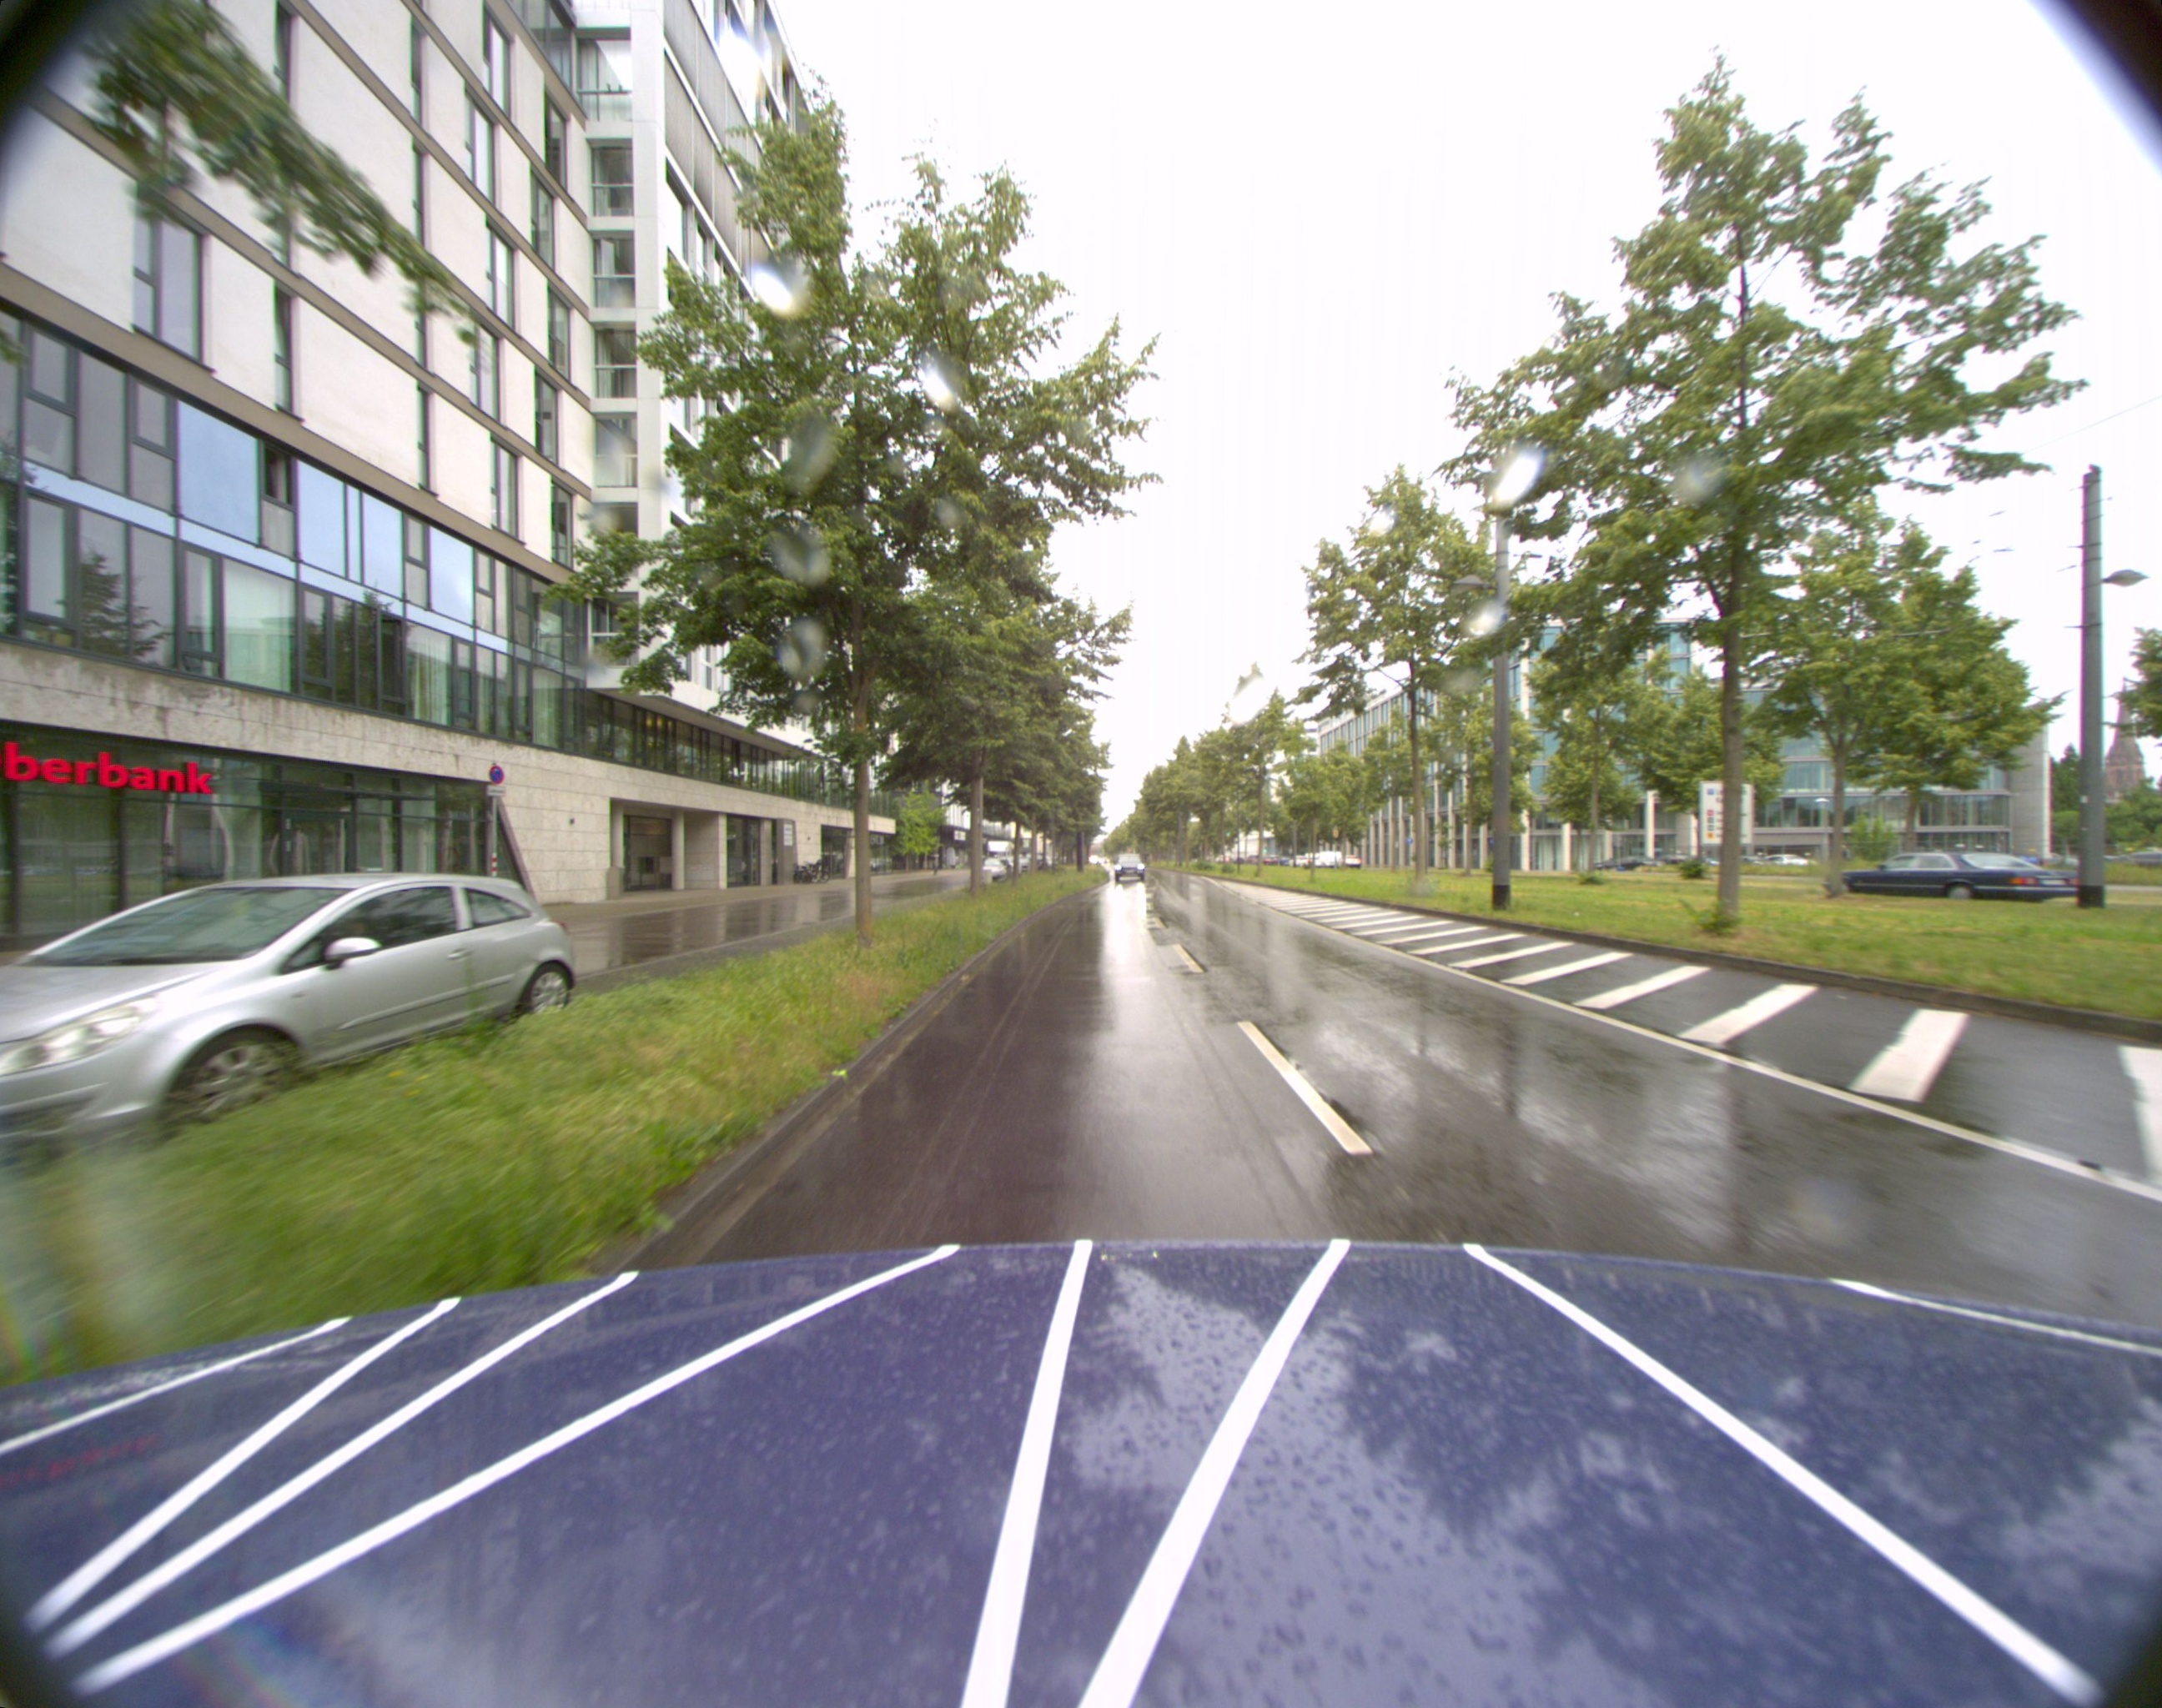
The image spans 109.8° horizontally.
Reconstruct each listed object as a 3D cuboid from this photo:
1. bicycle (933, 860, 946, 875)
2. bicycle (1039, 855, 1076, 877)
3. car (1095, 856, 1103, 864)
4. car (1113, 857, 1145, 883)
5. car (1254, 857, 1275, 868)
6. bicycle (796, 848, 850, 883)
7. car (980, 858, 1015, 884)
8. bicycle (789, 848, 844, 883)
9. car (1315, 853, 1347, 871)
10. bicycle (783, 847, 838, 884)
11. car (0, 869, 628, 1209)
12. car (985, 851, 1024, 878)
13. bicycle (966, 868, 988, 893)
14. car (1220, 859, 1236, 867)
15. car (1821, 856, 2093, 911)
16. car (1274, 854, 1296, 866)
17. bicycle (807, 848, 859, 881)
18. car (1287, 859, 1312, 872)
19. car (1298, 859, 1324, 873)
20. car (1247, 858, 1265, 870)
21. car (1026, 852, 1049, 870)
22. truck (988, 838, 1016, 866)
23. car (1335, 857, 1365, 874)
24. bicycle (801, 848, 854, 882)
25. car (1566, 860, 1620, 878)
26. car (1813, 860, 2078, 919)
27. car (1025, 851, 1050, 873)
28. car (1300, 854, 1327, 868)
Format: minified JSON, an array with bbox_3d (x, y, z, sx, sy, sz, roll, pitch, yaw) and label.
[{"bbox_3d":[-11.510,1.095,61.943,0.519,1.124,2.065,-1,0,4],"label":"bicycle"},{"bbox_3d":[-1.318,0.682,42.594,2.040,1.189,0.491,-1,1,1],"label":"bicycle"},{"bbox_3d":[3.934,1.352,170.255,1.687,1.520,3.970,0,-2,-1],"label":"car"},{"bbox_3d":[3.072,0.993,49.133,1.928,1.650,4.716,0,0,2],"label":"car"},{"bbox_3d":[27.093,1.279,112.314,1.955,1.377,4.606,0,-2,0],"label":"car"},{"bbox_3d":[-13.960,0.610,41.144,2.685,1.849,0.707,0,0,6],"label":"bicycle"},{"bbox_3d":[-4.941,1.024,45.283,1.629,1.482,3.656,0,-1,0],"label":"car"},{"bbox_3d":[-14.026,0.597,40.355,2.685,1.849,0.707,0,0,6],"label":"bicycle"},{"bbox_3d":[30.545,0.981,92.869,2.273,1.994,5.376,-1,-2,2],"label":"car"},{"bbox_3d":[-14.091,0.600,39.609,2.685,1.849,0.707,0,0,6],"label":"bicycle"},{"bbox_3d":[-5.721,0.918,5.643,1.886,1.496,4.725,0,-2,0],"label":"car"},{"bbox_3d":[-5.136,0.741,51.517,1.998,1.658,4.726,-1,-2,1],"label":"car"},{"bbox_3d":[-3.558,0.907,26.130,0.343,0.817,1.903,-1,-2,4],"label":"bicycle"},{"bbox_3d":[25.855,1.582,134.043,1.955,1.444,4.576,-1,0,1],"label":"car"},{"bbox_3d":[22.800,0.745,20.152,1.553,1.258,4.853,0,-1,-1],"label":"car"},{"bbox_3d":[27.733,0.858,103.407,1.956,1.485,3.963,0,-2,-1],"label":"car"},{"bbox_3d":[-13.919,0.590,42.696,2.685,1.849,0.707,0,0,6],"label":"bicycle"},{"bbox_3d":[27.769,1.474,96.562,1.955,1.504,4.576,-1,0,1],"label":"car"},{"bbox_3d":[27.223,1.432,90.164,1.955,1.451,4.835,-1,-2,5],"label":"car"},{"bbox_3d":[28.070,1.656,121.992,1.955,1.837,4.544,0,-1,1],"label":"car"},{"bbox_3d":[-3.977,0.621,68.818,1.962,1.504,4.480,0,0,-5],"label":"car"},{"bbox_3d":[-10.202,-0.226,98.967,3.032,3.421,8.546,-1,0,-2],"label":"truck"},{"bbox_3d":[29.960,1.278,84.811,1.955,1.739,4.577,-1,0,4],"label":"car"},{"bbox_3d":[-13.994,0.622,41.933,2.685,1.849,0.707,0,0,6],"label":"bicycle"},{"bbox_3d":[48.433,1.444,71.903,3.797,1.599,1.746,-1,-2,5],"label":"car"},{"bbox_3d":[22.812,0.854,20.427,1.492,1.290,4.976,-1,1,1],"label":"car"},{"bbox_3d":[-4.243,0.821,75.273,1.998,1.940,5.032,-1,-2,2],"label":"car"},{"bbox_3d":[30.859,0.988,100.967,1.956,1.641,5.031,0,-2,-1],"label":"car"}]
